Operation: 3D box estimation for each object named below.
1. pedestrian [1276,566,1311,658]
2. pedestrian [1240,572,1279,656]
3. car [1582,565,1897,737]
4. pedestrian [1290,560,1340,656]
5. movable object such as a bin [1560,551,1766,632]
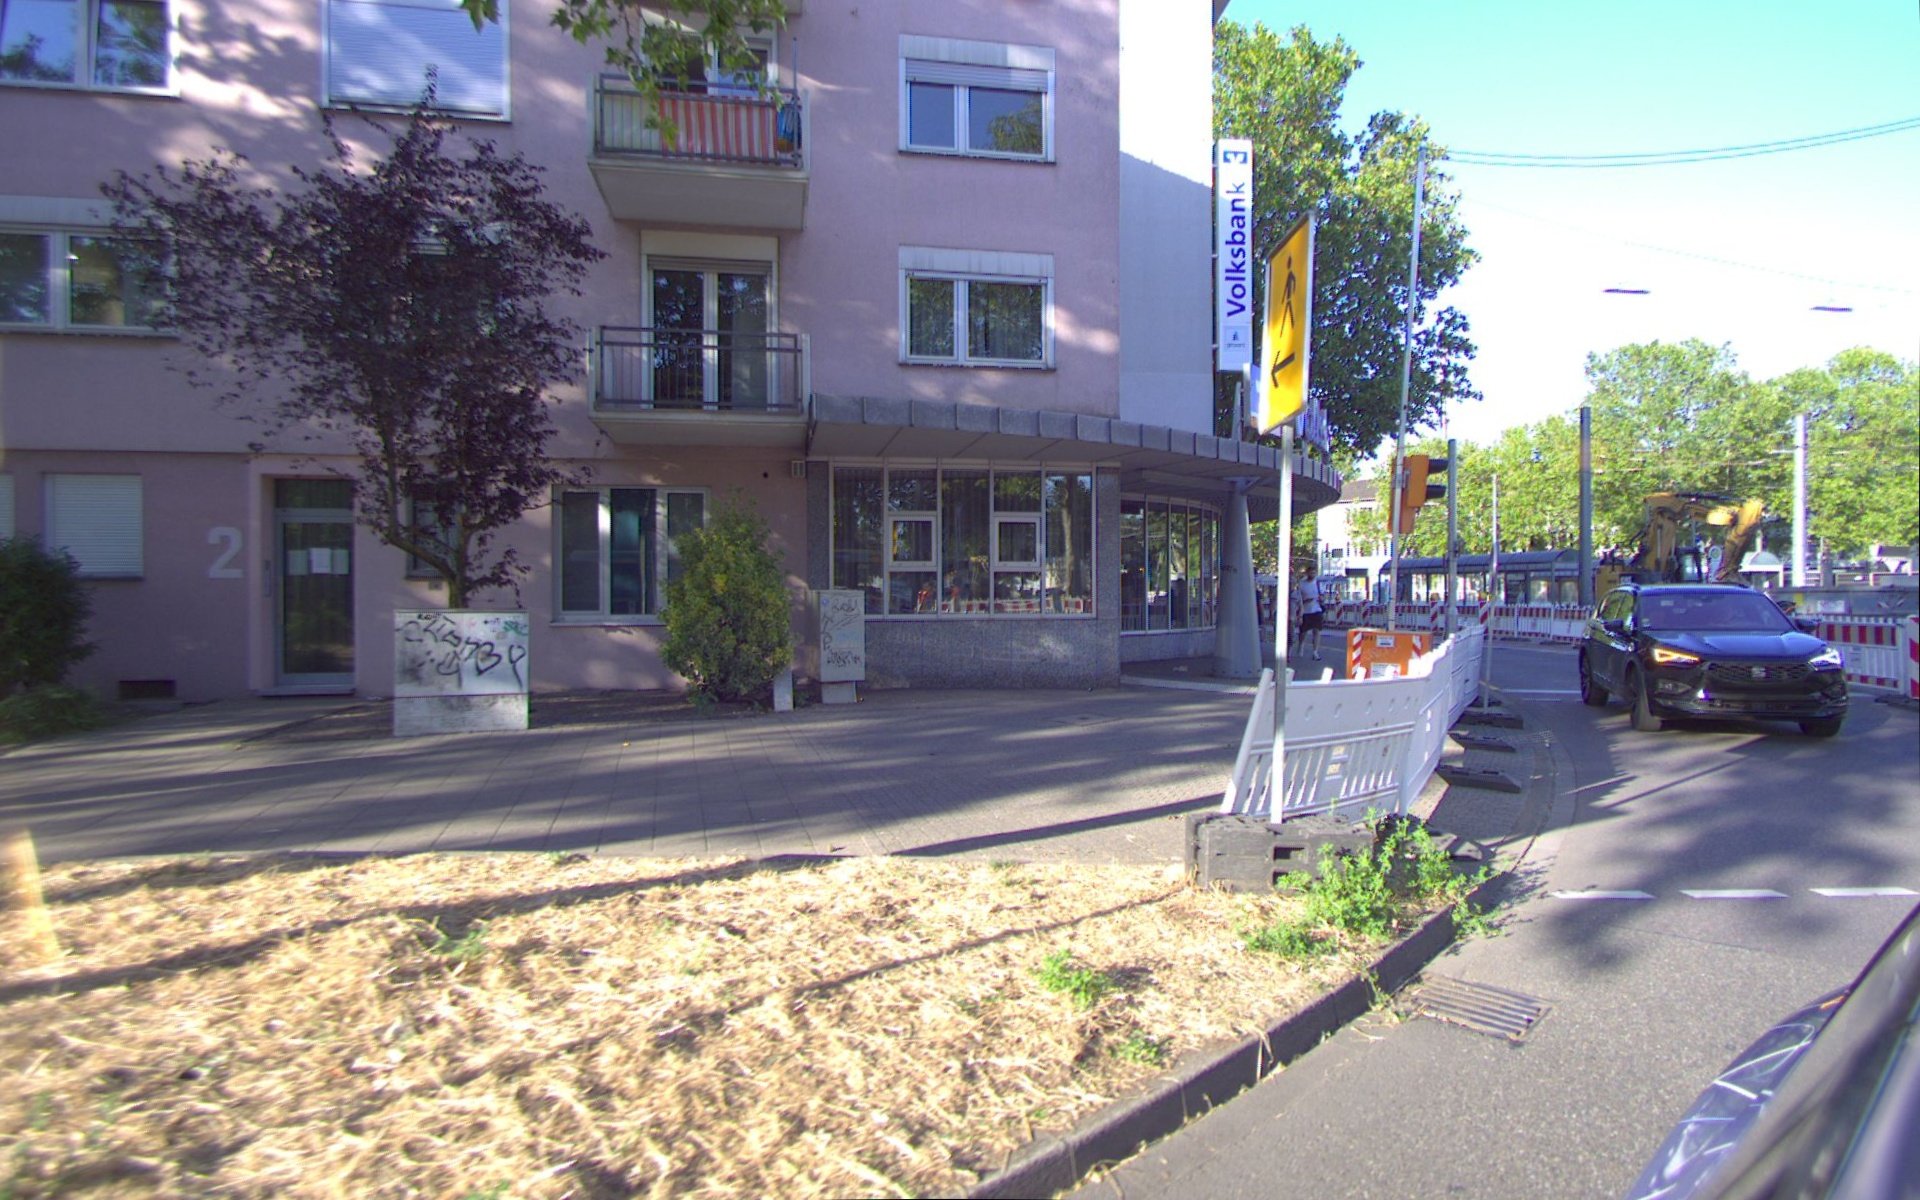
[{"bbox_3d":[6.465,0.221,19.603,0.577,1.730,0.674,2,-1,20],"label":"pedestrian"},{"bbox_3d":[5.884,0.274,19.863,0.627,1.593,0.769,2,0,20],"label":"pedestrian"},{"bbox_3d":[8.993,0.497,12.154,1.978,1.668,4.170,-2,0,24],"label":"car"},{"bbox_3d":[7.375,0.162,21.046,0.830,1.893,1.092,4,-1,19],"label":"pedestrian"},{"bbox_3d":[22.238,-0.273,32.333,2.596,2.347,4.911,-1,0,-11],"label":"movable object such as a bin"}]
